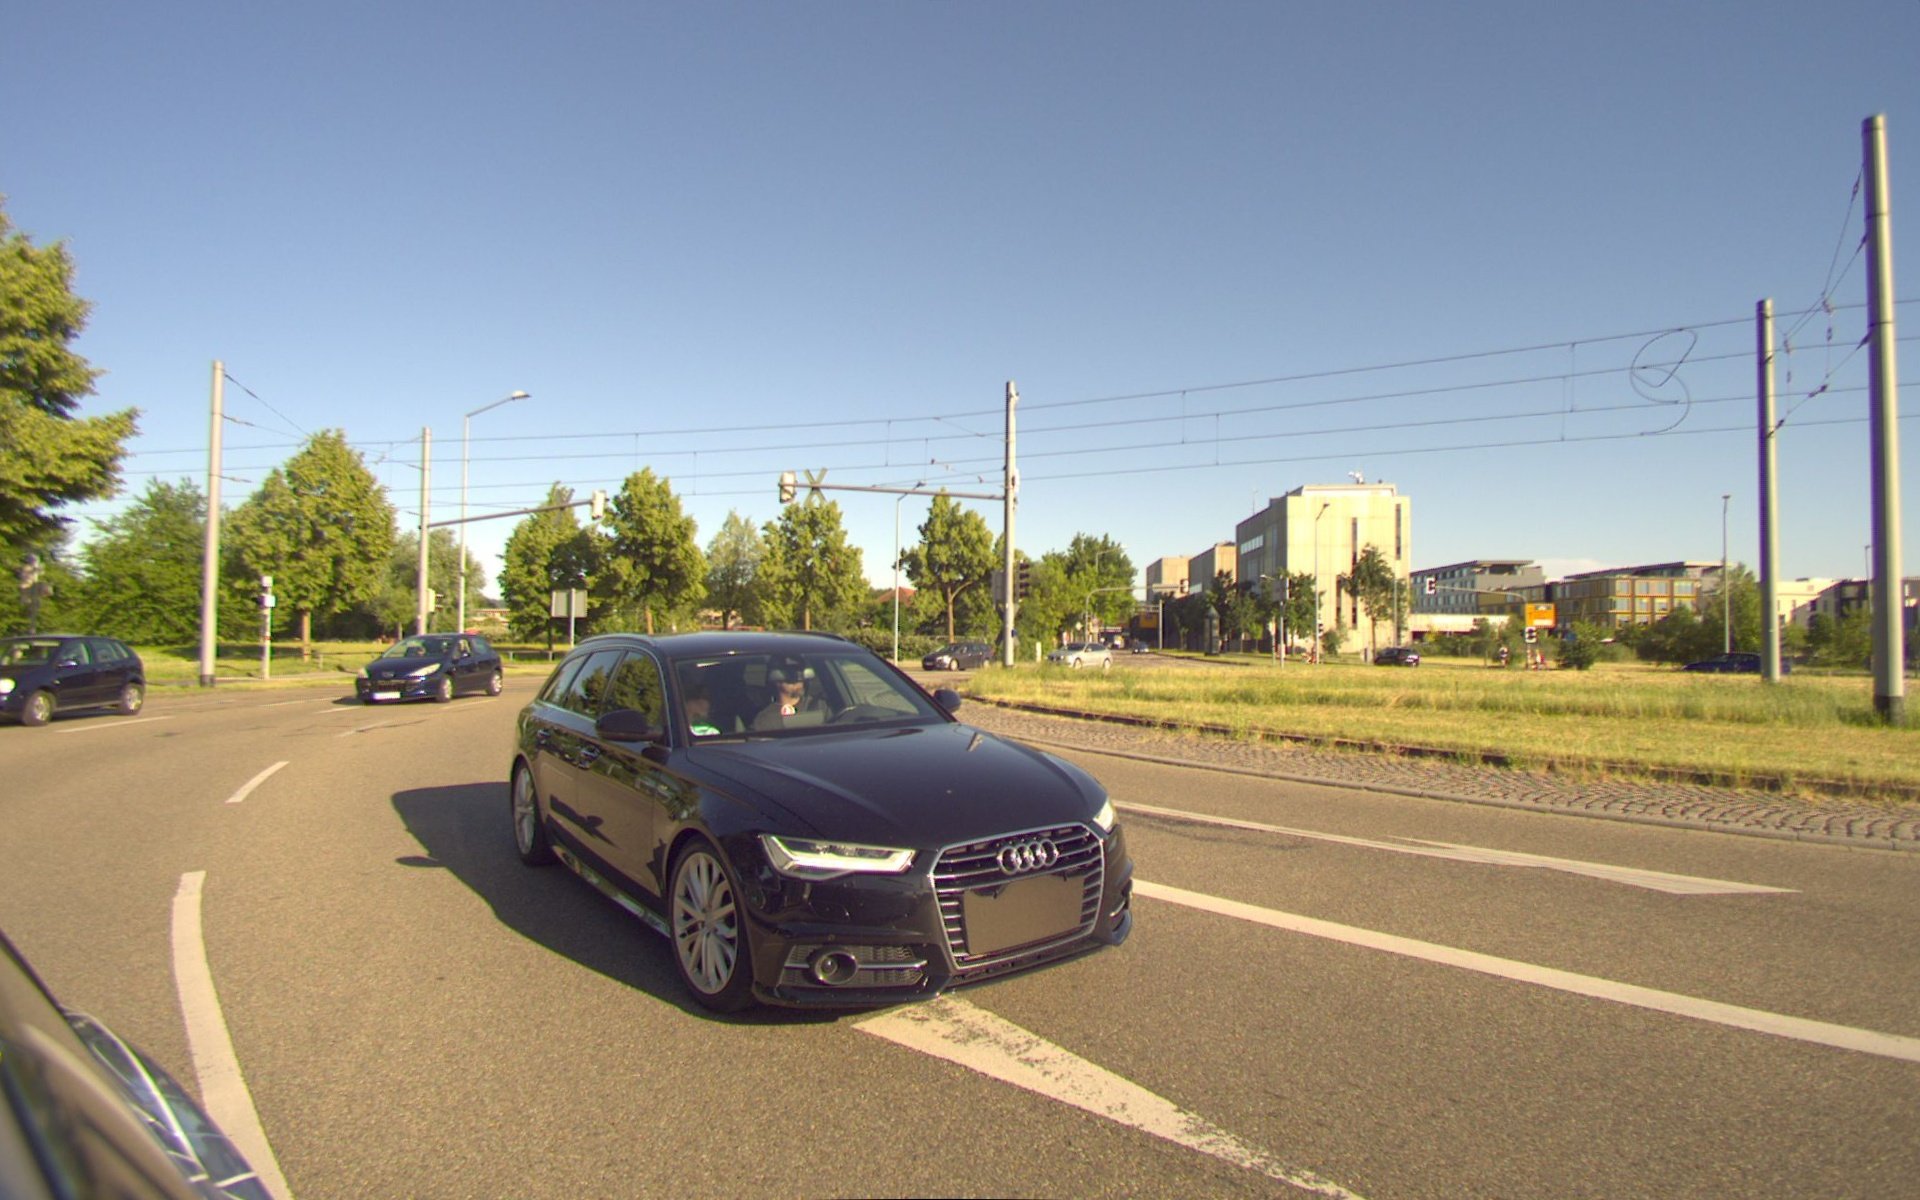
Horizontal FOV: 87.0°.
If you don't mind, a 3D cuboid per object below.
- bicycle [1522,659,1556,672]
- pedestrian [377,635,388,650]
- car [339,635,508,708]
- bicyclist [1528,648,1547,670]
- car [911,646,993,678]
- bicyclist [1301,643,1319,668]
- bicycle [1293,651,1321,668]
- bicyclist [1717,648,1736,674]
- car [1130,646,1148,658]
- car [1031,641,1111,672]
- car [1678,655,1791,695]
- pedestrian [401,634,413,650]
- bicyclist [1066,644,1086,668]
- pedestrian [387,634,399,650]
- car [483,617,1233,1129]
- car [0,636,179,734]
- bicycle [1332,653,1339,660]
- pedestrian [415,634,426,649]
[{"bbox_3d":[39.214,4.460,68.597,1.869,0.859,0.615,0,-3,12],"label":"bicycle"},{"bbox_3d":[-53.652,3.956,94.000,0.676,1.451,0.796,1,-3,-12],"label":"pedestrian"},{"bbox_3d":[-11.753,1.523,22.478,1.733,1.465,4.001,0,-2,-2],"label":"car"},{"bbox_3d":[39.164,3.993,68.627,0.915,1.529,0.615,0,-3,11],"label":"bicyclist"},{"bbox_3d":[-0.343,3.049,50.116,1.725,1.390,4.010,-3,-2,44],"label":"car"},{"bbox_3d":[24.199,3.827,70.011,0.928,1.676,0.705,0,-2,-4],"label":"bicyclist"},{"bbox_3d":[24.005,4.098,69.977,1.630,1.137,0.705,0,-2,-4],"label":"bicycle"},{"bbox_3d":[47.073,3.751,62.173,0.835,1.592,0.653,-2,-4,44],"label":"bicyclist"},{"bbox_3d":[23.283,6.743,131.603,1.933,1.627,3.912,0,-3,5],"label":"car"},{"bbox_3d":[5.655,2.833,51.277,1.935,1.390,4.478,-3,-2,38],"label":"car"},{"bbox_3d":[37.684,3.618,49.337,1.744,1.799,3.930,1,-3,-30],"label":"car"},{"bbox_3d":[-51.658,3.914,94.506,0.761,1.451,0.796,1,-3,-12],"label":"pedestrian"},{"bbox_3d":[7.889,3.822,68.939,1.069,1.574,0.879,2,-2,-18],"label":"bicyclist"},{"bbox_3d":[-52.624,3.925,93.901,0.676,1.451,0.796,1,-3,-12],"label":"pedestrian"},{"bbox_3d":[-1.124,0.871,5.475,1.768,1.454,5.029,1,-2,-35],"label":"car"},{"bbox_3d":[-15.646,1.363,17.346,1.612,1.479,4.555,0,-2,-10],"label":"car"},{"bbox_3d":[44.709,6.704,120.501,0.485,0.859,1.883,0,-3,9],"label":"bicycle"},{"bbox_3d":[-50.365,3.878,94.500,0.651,1.451,0.796,1,-3,-12],"label":"pedestrian"}]
